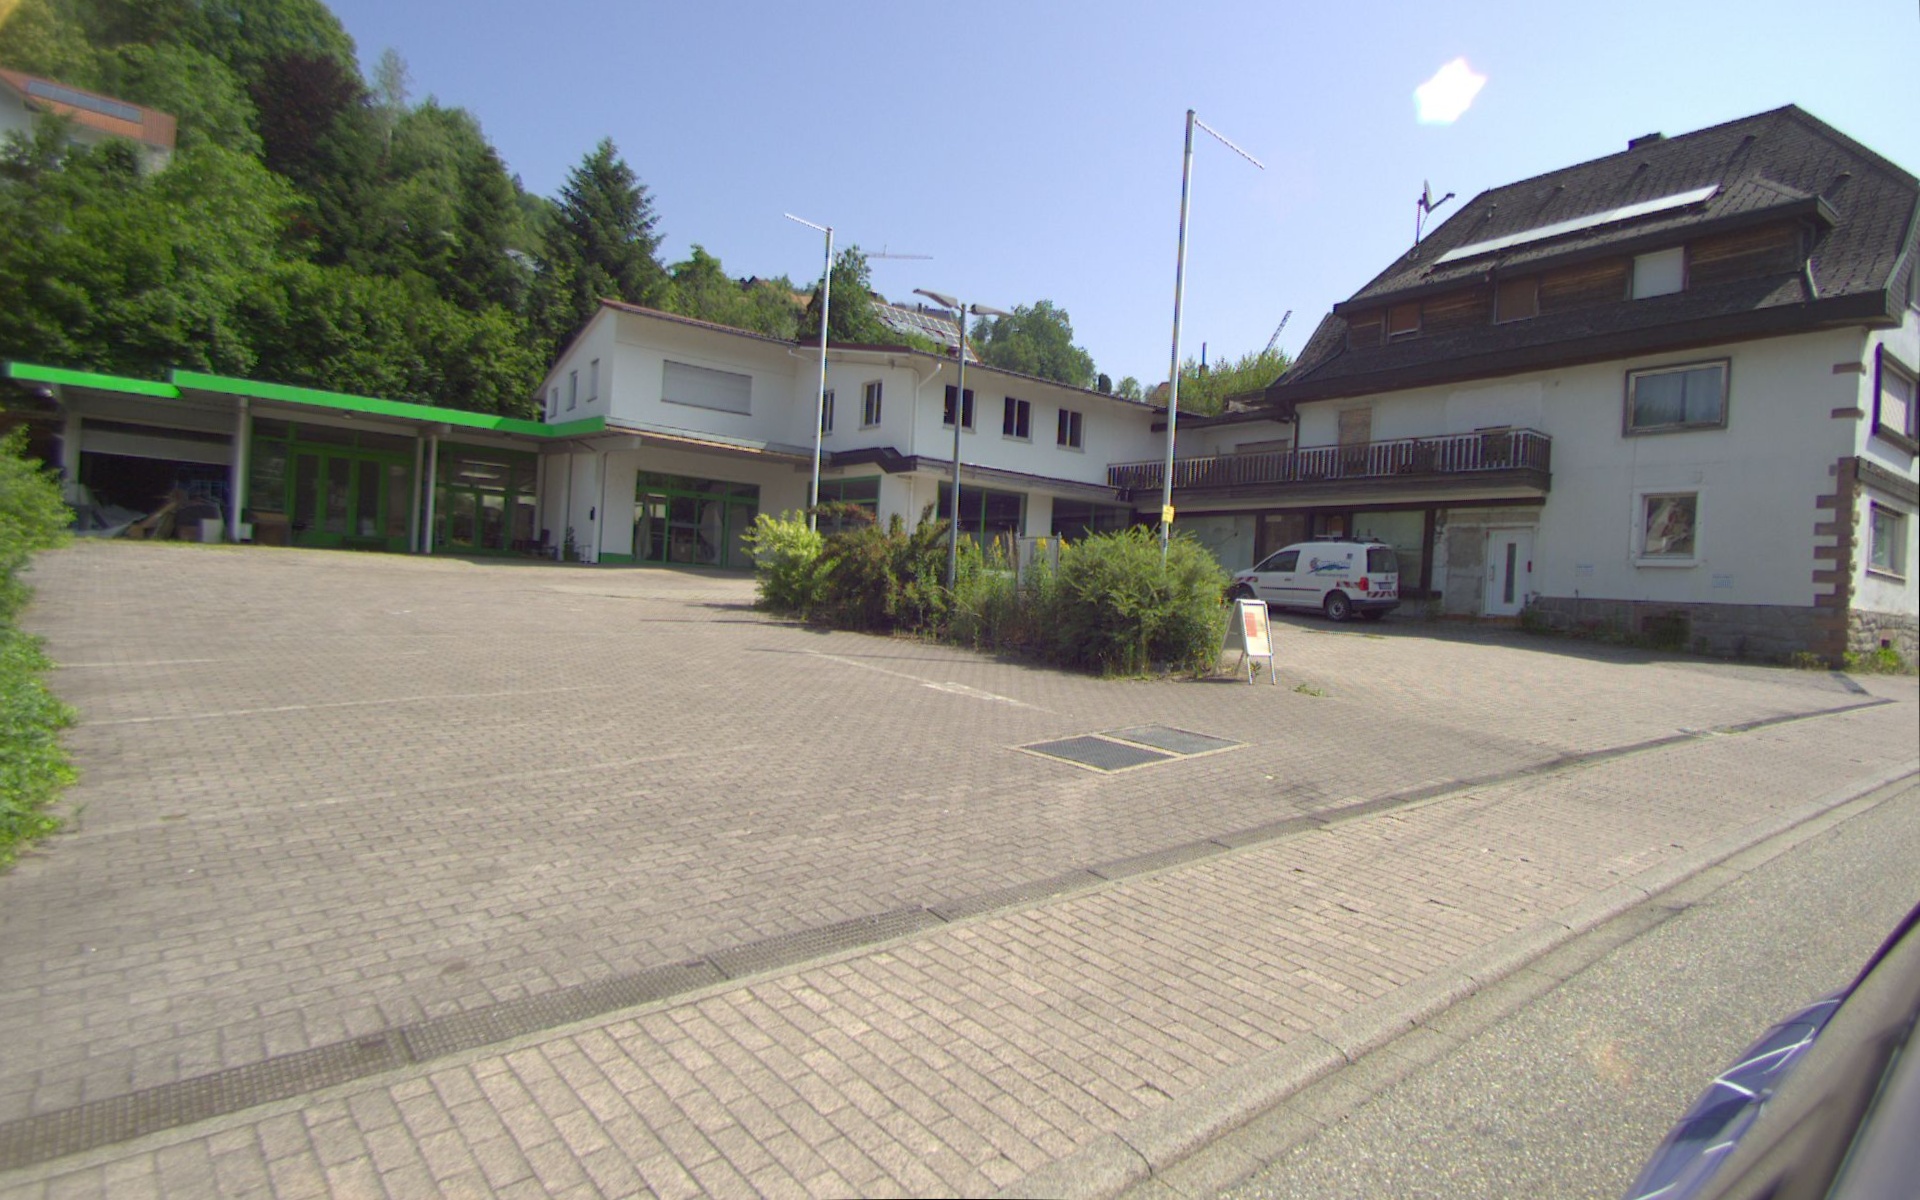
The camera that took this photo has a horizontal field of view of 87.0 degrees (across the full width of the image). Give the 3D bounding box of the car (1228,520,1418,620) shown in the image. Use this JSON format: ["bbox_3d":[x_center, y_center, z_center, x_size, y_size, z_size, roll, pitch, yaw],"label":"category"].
[{"bbox_3d":[8.765,-0.802,24.725,1.606,2.007,4.021,-1,7,-38],"label":"car"}]
